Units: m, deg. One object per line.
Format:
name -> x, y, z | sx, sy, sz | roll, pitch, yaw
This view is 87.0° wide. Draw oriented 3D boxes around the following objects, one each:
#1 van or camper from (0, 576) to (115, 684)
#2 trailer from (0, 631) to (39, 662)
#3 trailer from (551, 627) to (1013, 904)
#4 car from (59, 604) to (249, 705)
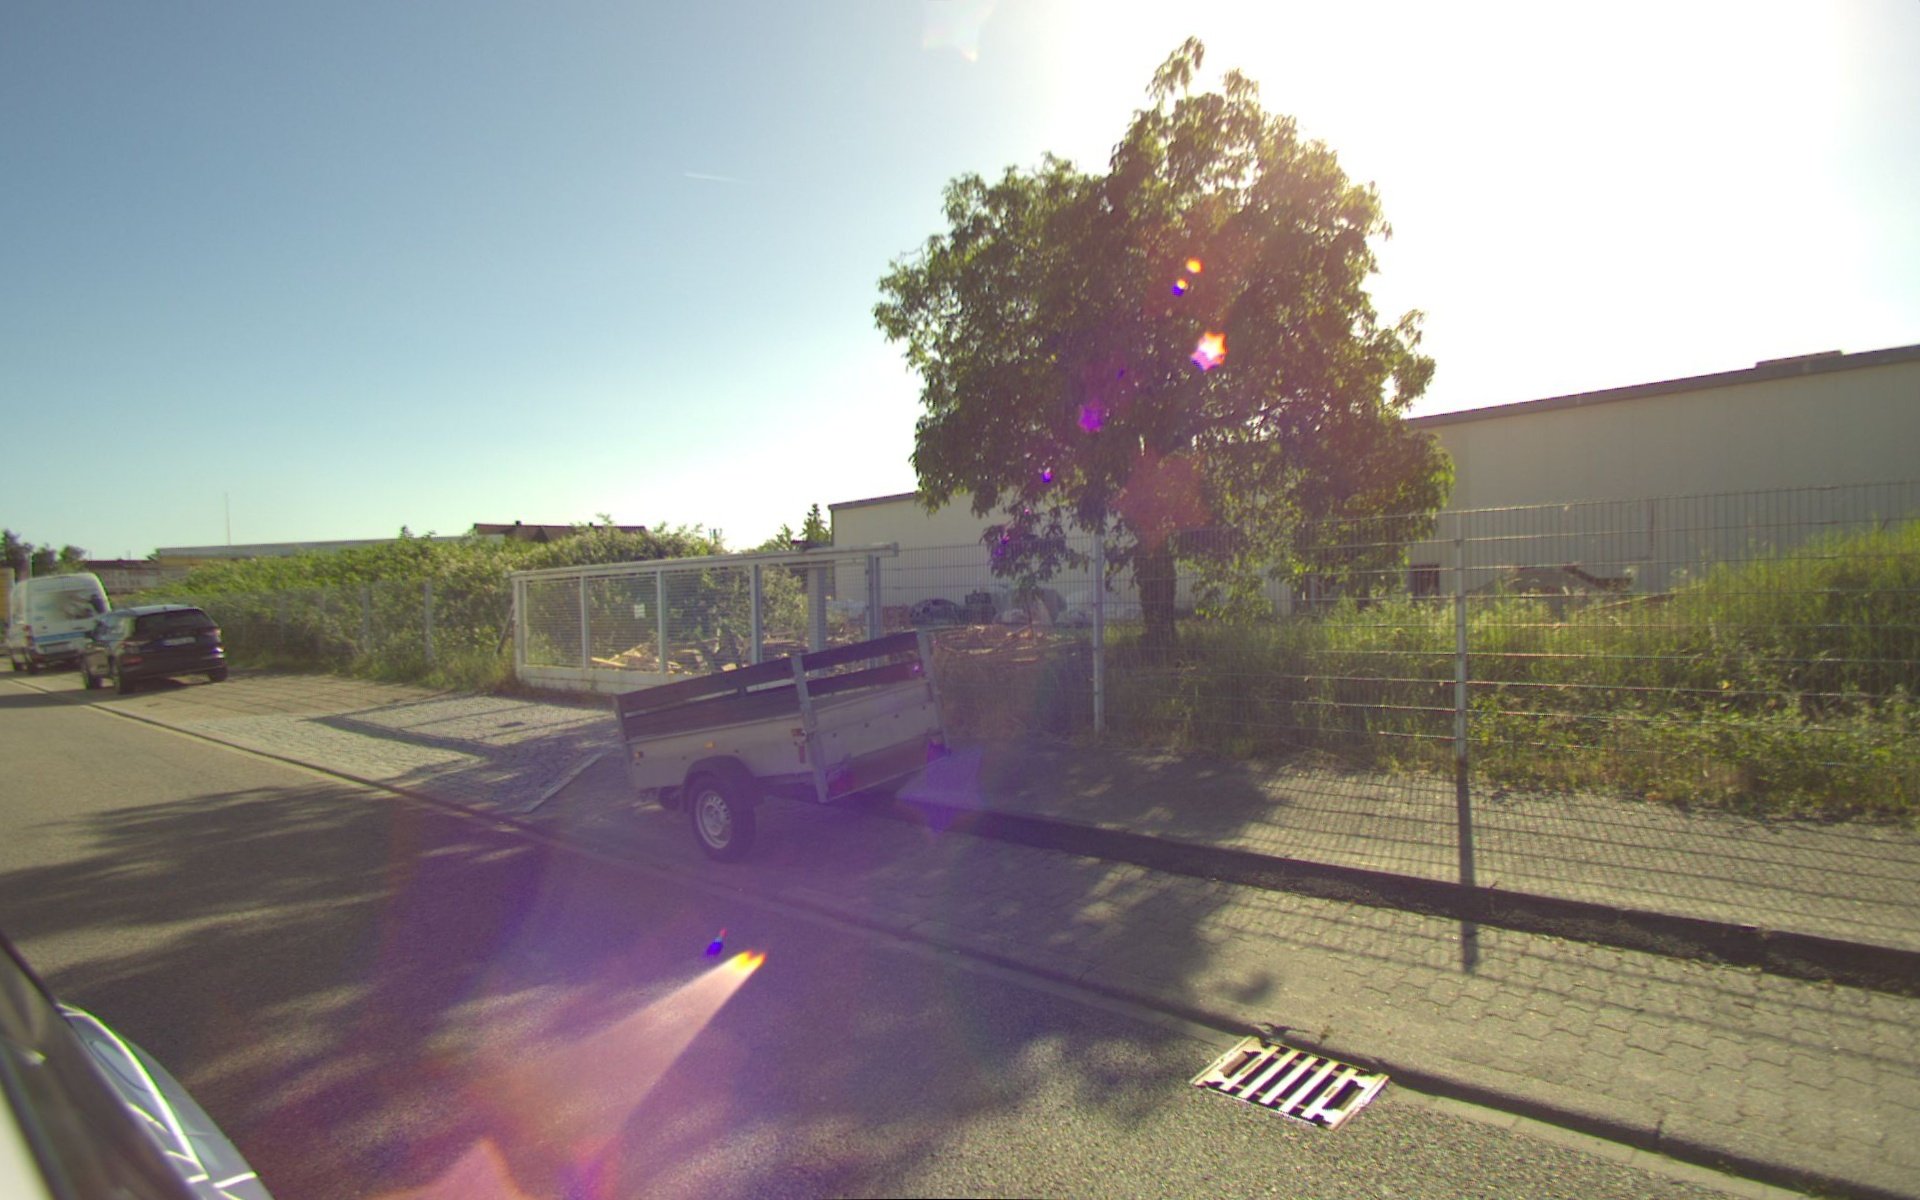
van or camper -> -26.680, 0.849, 29.665 | 5.947, 2.704, 1.946 | -2, 5, 43
trailer -> -40.746, 2.040, 42.456 | 6.241, 1.088, 2.352 | -3, 3, 41
trailer -> -1.316, 0.914, 6.898 | 3.077, 1.364, 1.461 | -1, 2, 41
car -> -16.981, 1.090, 21.224 | 5.102, 1.706, 2.011 | -2, 4, 40
